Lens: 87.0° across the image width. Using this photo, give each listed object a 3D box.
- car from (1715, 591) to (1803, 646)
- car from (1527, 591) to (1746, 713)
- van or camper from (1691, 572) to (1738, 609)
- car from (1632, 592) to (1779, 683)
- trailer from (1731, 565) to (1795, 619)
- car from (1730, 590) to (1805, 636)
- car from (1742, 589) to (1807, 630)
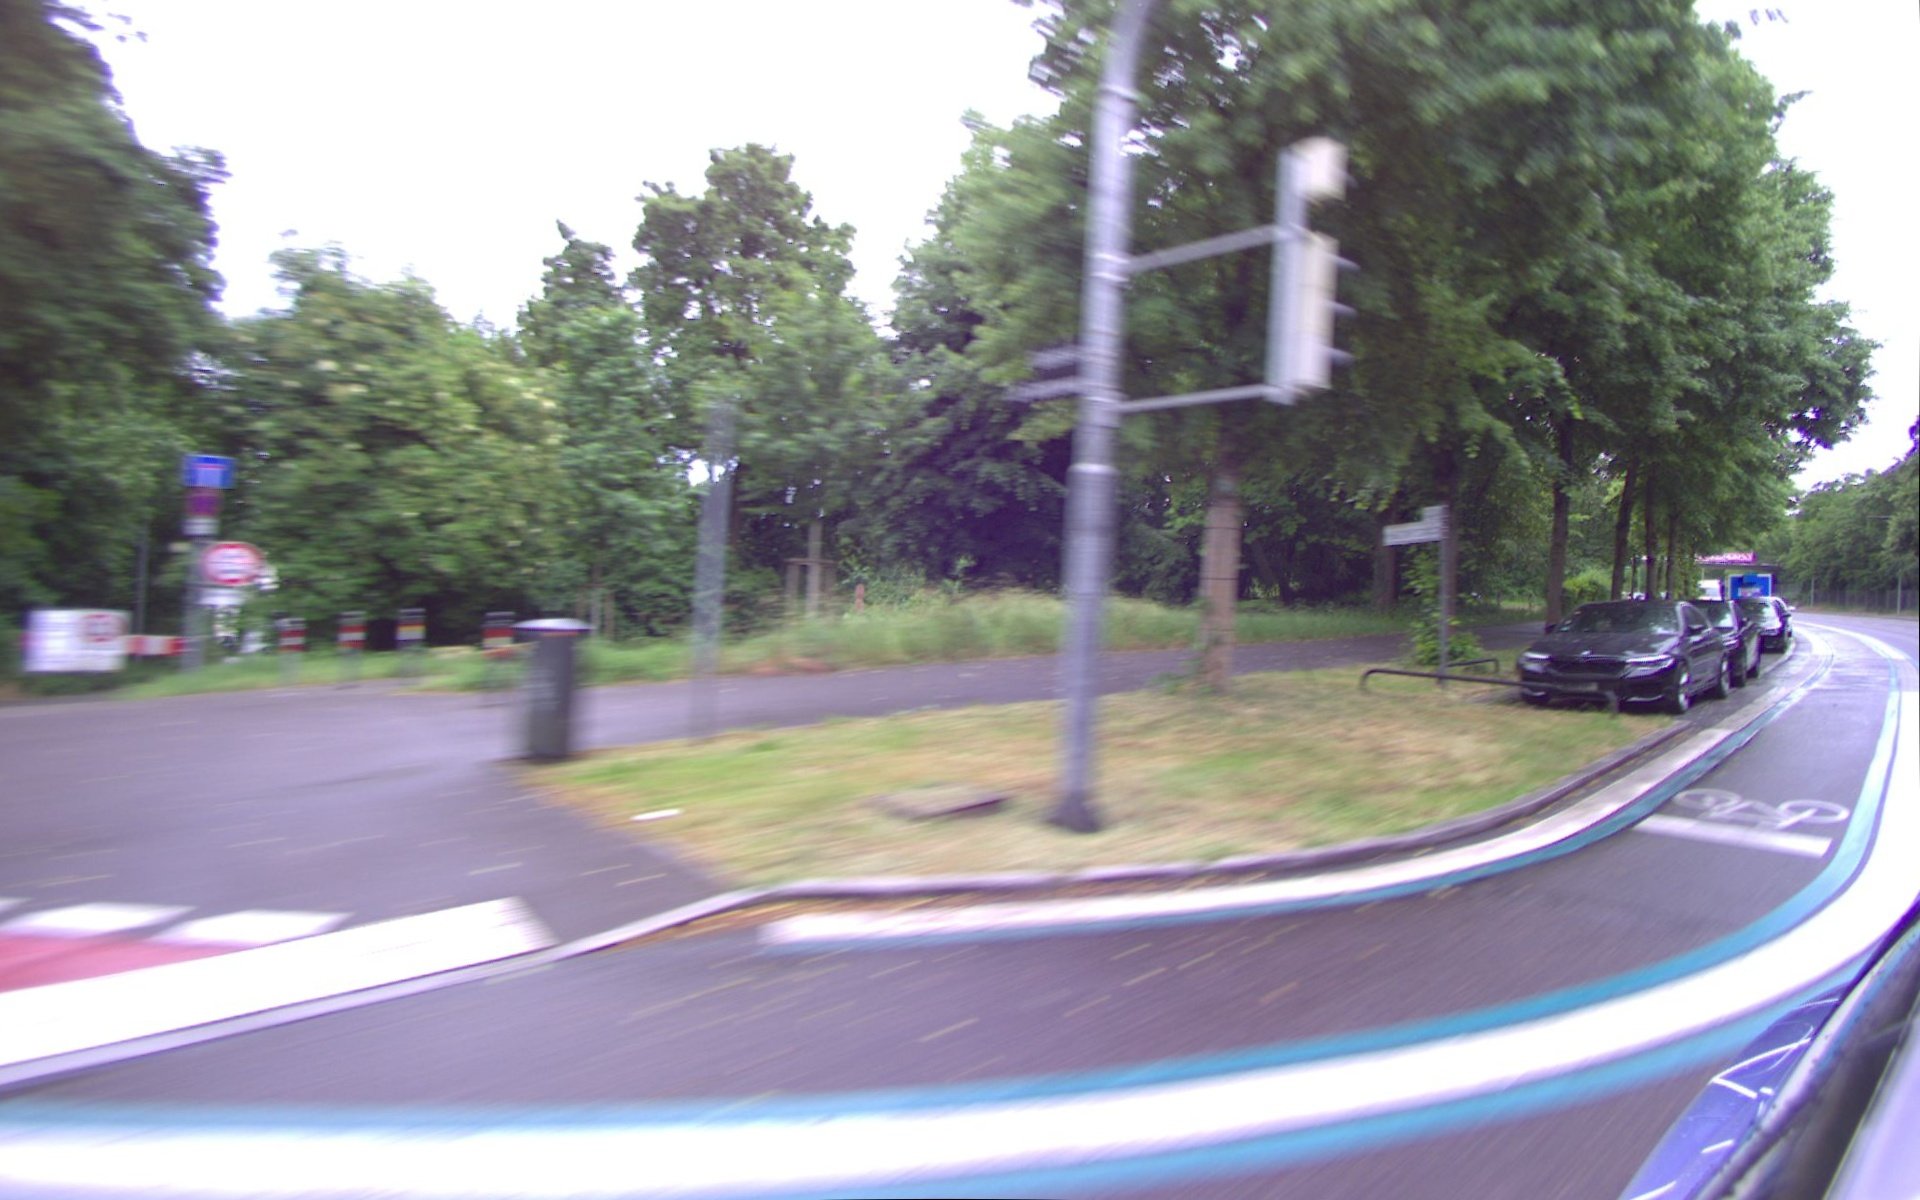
[{"bbox_3d":[22.800,0.459,28.806,1.779,1.425,4.775,0,1,40],"label":"car"},{"bbox_3d":[9.846,0.614,14.557,1.758,1.458,4.779,0,1,45],"label":"car"},{"bbox_3d":[58.296,-0.763,78.293,2.307,2.698,6.309,1,1,32],"label":"van or camper"},{"bbox_3d":[13.888,0.597,18.734,1.698,1.438,4.690,-1,0,43],"label":"car"},{"bbox_3d":[42.836,-0.459,54.106,2.309,2.705,5.309,1,1,35],"label":"trailer"},{"bbox_3d":[27.397,0.385,34.293,1.683,1.446,4.251,0,1,43],"label":"car"},{"bbox_3d":[31.263,0.319,38.828,1.857,1.446,4.583,0,1,40],"label":"car"}]
